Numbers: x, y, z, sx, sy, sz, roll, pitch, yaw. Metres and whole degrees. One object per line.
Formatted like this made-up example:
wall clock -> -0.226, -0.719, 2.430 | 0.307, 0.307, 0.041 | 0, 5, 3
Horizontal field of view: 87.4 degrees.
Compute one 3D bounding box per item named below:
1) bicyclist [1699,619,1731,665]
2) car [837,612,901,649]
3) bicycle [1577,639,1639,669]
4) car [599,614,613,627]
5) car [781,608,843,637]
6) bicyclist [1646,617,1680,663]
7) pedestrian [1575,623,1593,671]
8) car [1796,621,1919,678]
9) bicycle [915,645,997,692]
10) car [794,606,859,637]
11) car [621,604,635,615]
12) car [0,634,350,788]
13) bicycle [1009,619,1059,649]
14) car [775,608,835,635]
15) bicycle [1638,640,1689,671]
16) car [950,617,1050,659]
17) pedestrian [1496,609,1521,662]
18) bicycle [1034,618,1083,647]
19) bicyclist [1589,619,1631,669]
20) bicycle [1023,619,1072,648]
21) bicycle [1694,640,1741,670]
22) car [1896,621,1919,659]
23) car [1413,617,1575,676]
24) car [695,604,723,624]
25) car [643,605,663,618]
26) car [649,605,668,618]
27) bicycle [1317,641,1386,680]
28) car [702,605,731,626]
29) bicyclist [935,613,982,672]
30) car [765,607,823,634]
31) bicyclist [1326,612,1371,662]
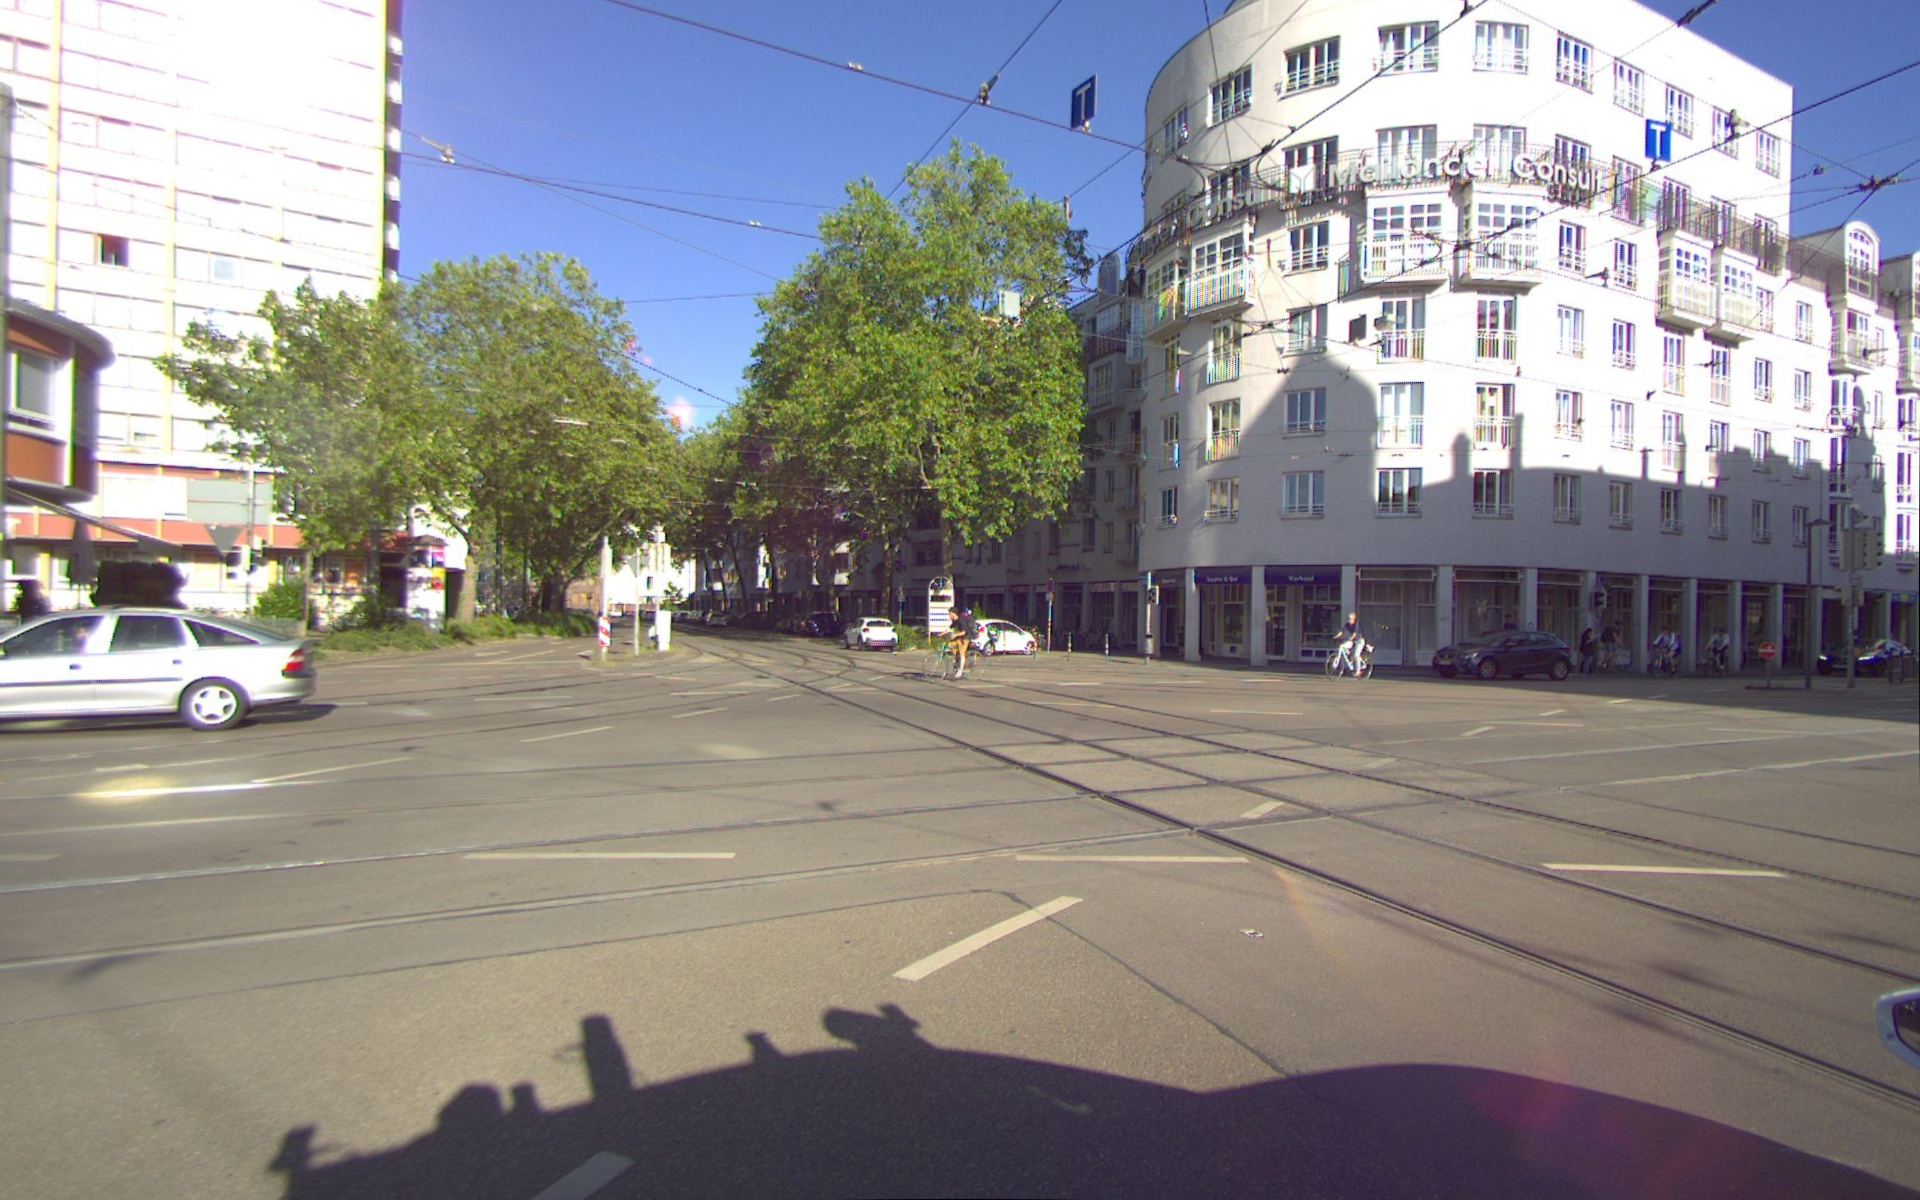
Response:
bicyclist -> 26.719, 1.479, 35.537 | 0.885, 1.606, 0.586 | 0, 0, -30
car -> -4.215, 1.371, 46.007 | 1.778, 1.422, 3.984 | -2, 2, -23
bicycle -> 22.759, 1.899, 35.314 | 1.727, 0.993, 0.678 | 0, 1, 0
car -> -62.949, 3.642, 178.598 | 1.819, 2.041, 3.969 | -1, 1, -29
car -> -10.516, 1.563, 71.386 | 3.953, 1.907, 1.808 | -1, 1, -30
bicyclist -> 23.427, 1.309, 33.466 | 0.917, 1.508, 0.586 | 0, 0, -30
pedestrian -> 21.074, 1.577, 33.929 | 0.434, 1.555, 0.683 | 0, 2, 25
car -> 34.767, 1.864, 38.864 | 4.552, 1.937, 2.217 | 0, 1, -29
bicycle -> -0.085, 1.542, 22.896 | 1.794, 0.985, 0.591 | 1, 0, -28
car -> -8.907, 1.401, 67.214 | 3.953, 1.907, 1.808 | -1, 1, -30
car -> -56.543, 1.571, 171.056 | 1.971, 1.740, 3.979 | 1, 0, -22
car -> -9.992, 1.241, 11.919 | 4.594, 1.471, 1.984 | -1, 1, -30
bicycle -> 3.473, 1.596, 47.377 | 0.593, 1.251, 2.864 | -3, 2, -36
car -> -11.285, 1.548, 73.292 | 3.953, 1.907, 1.808 | -1, 1, -30
bicycle -> 23.445, 1.835, 33.465 | 1.988, 0.985, 0.591 | 1, 0, -30
car -> 1.708, 1.546, 42.091 | 4.070, 1.422, 1.781 | -3, 3, -42
pedestrian -> 19.655, 1.253, 36.011 | 0.735, 1.857, 0.459 | -2, 2, -25
bicycle -> 4.731, 1.555, 48.414 | 0.593, 1.251, 2.864 | -3, 2, -36
bicyclist -> 22.846, 1.525, 35.323 | 1.009, 1.718, 0.724 | 0, 1, 0
bicycle -> 4.152, 1.584, 47.916 | 0.593, 1.251, 2.864 | -3, 2, -36
bicycle -> 26.881, 1.935, 35.622 | 2.023, 0.985, 0.591 | 1, 0, -30
car -> 42.583, 1.730, 43.511 | 4.350, 1.535, 1.721 | 0, 1, -29
car -> 15.627, 1.335, 29.453 | 3.935, 1.617, 1.993 | 1, 0, -17
car -> -26.566, 1.506, 106.201 | 1.975, 2.040, 3.971 | 0, 0, -28
car -> -42.437, 1.543, 138.677 | 1.974, 1.740, 3.972 | 0, 0, -27
car -> -43.963, 1.683, 146.475 | 1.975, 1.740, 3.971 | 0, 0, -28
bicycle -> 10.411, 1.598, 26.690 | 1.828, 0.985, 0.592 | 1, 0, -24
car -> -24.410, 1.539, 100.657 | 1.973, 2.040, 3.974 | 0, 0, -26
bicyclist -> -0.034, 0.954, 22.923 | 0.915, 1.302, 0.586 | 0, 0, -27
car -> -12.578, 1.532, 75.965 | 3.953, 1.907, 1.808 | -1, 1, -30
bicyclist -> 10.301, 0.976, 26.652 | 0.978, 1.302, 0.587 | 0, 0, -24
